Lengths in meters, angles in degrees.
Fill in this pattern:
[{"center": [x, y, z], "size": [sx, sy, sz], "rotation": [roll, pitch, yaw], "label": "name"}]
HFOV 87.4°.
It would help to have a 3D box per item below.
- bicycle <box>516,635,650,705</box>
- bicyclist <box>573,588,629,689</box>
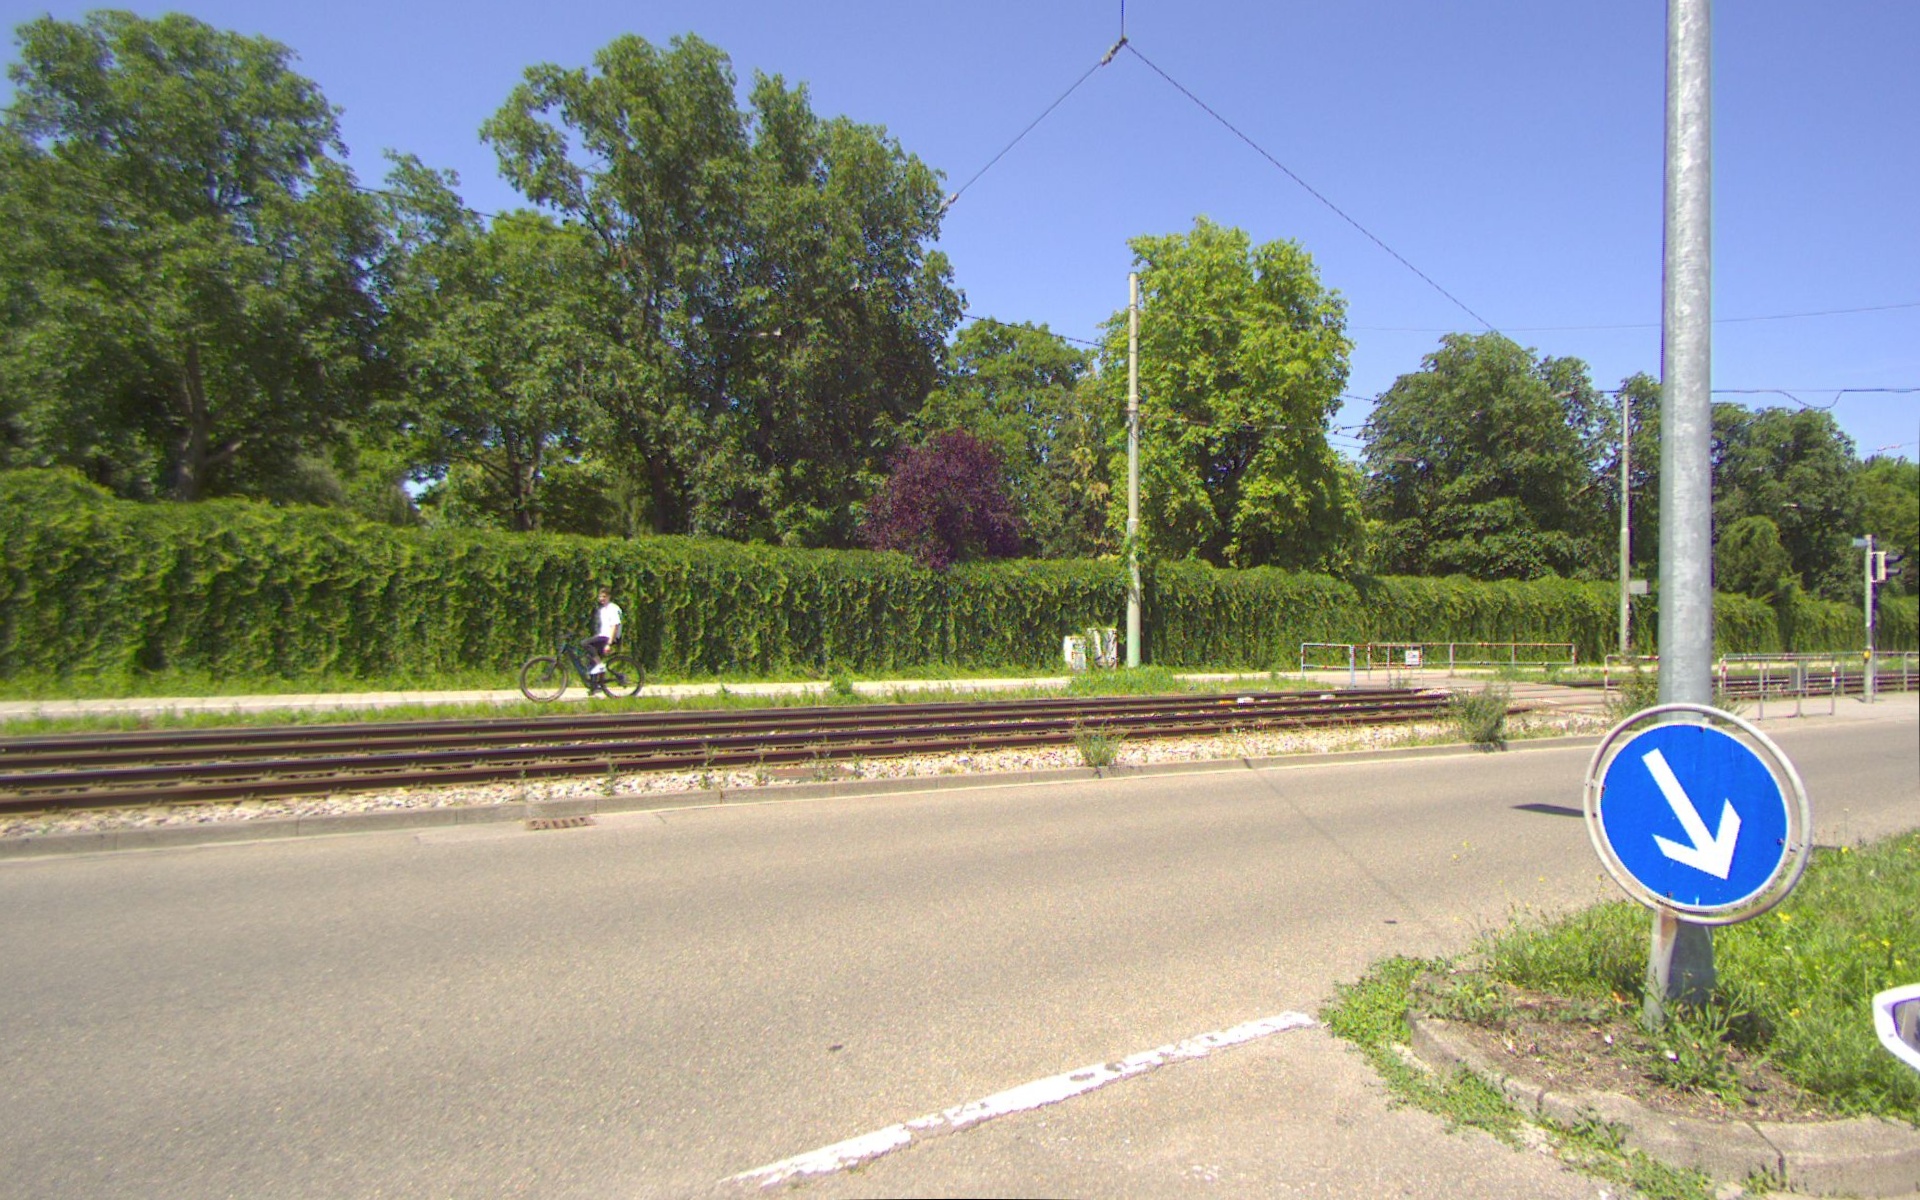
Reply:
[{"center": [-6.159, 1.131, 16.449], "size": [1.955, 1.069, 0.613], "rotation": [2, 0, -30], "label": "bicycle"}, {"center": [-5.921, 0.631, 16.579], "size": [0.760, 1.633, 0.480], "rotation": [2, 0, -30], "label": "bicyclist"}]
